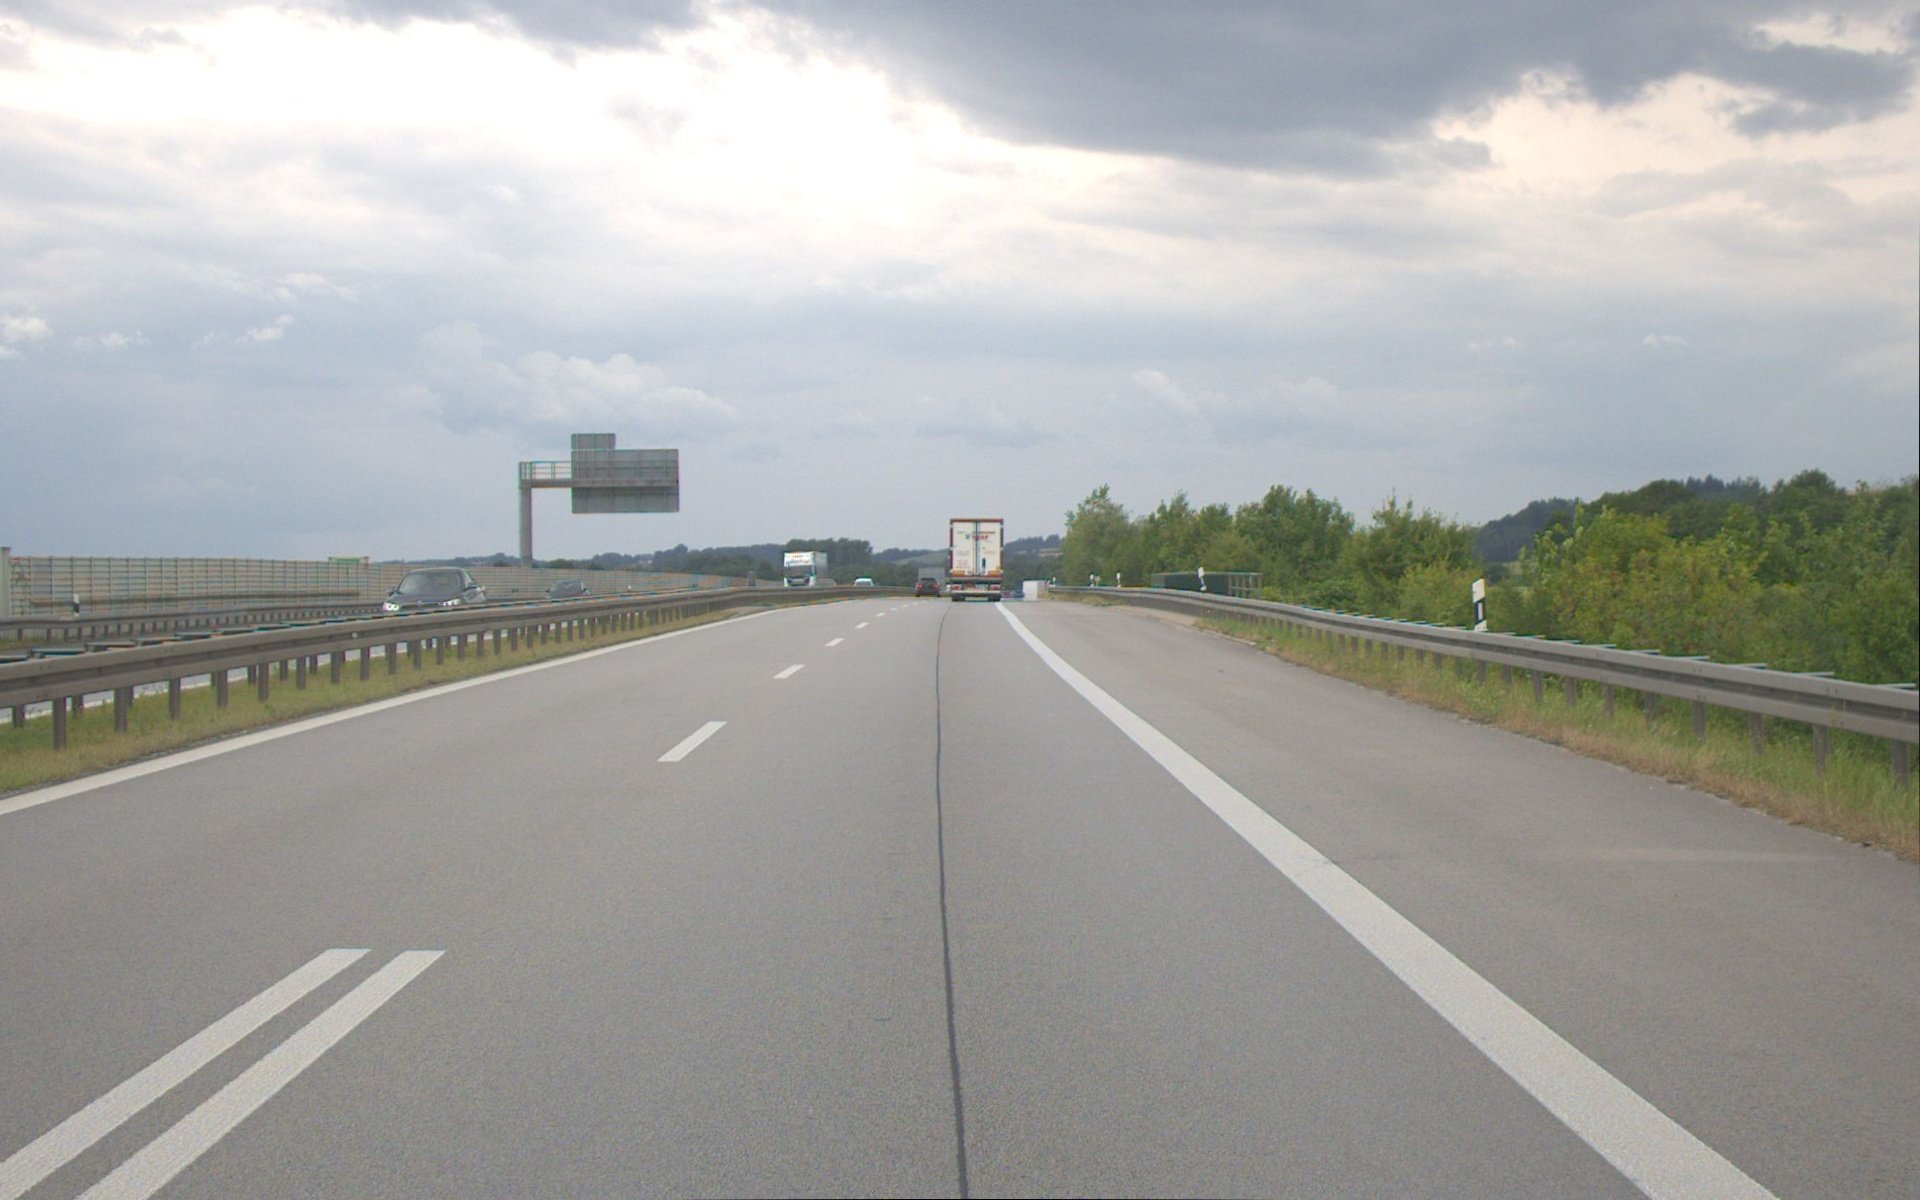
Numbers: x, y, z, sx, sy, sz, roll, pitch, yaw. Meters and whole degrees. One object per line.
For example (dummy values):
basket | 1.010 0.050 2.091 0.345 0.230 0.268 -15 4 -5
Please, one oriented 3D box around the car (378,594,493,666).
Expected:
car | -11.548 0.636 75.986 1.787 1.446 5.174 0 1 0

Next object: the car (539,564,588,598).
car | -18.338 -0.873 159.172 1.704 1.489 4.566 -2 0 0

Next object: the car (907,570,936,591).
car | -2.772 -1.413 249.523 1.993 1.415 4.000 1 1 -2

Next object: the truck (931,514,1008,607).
truck | 0.563 -1.905 174.121 3.672 4.397 16.340 0 0 1
